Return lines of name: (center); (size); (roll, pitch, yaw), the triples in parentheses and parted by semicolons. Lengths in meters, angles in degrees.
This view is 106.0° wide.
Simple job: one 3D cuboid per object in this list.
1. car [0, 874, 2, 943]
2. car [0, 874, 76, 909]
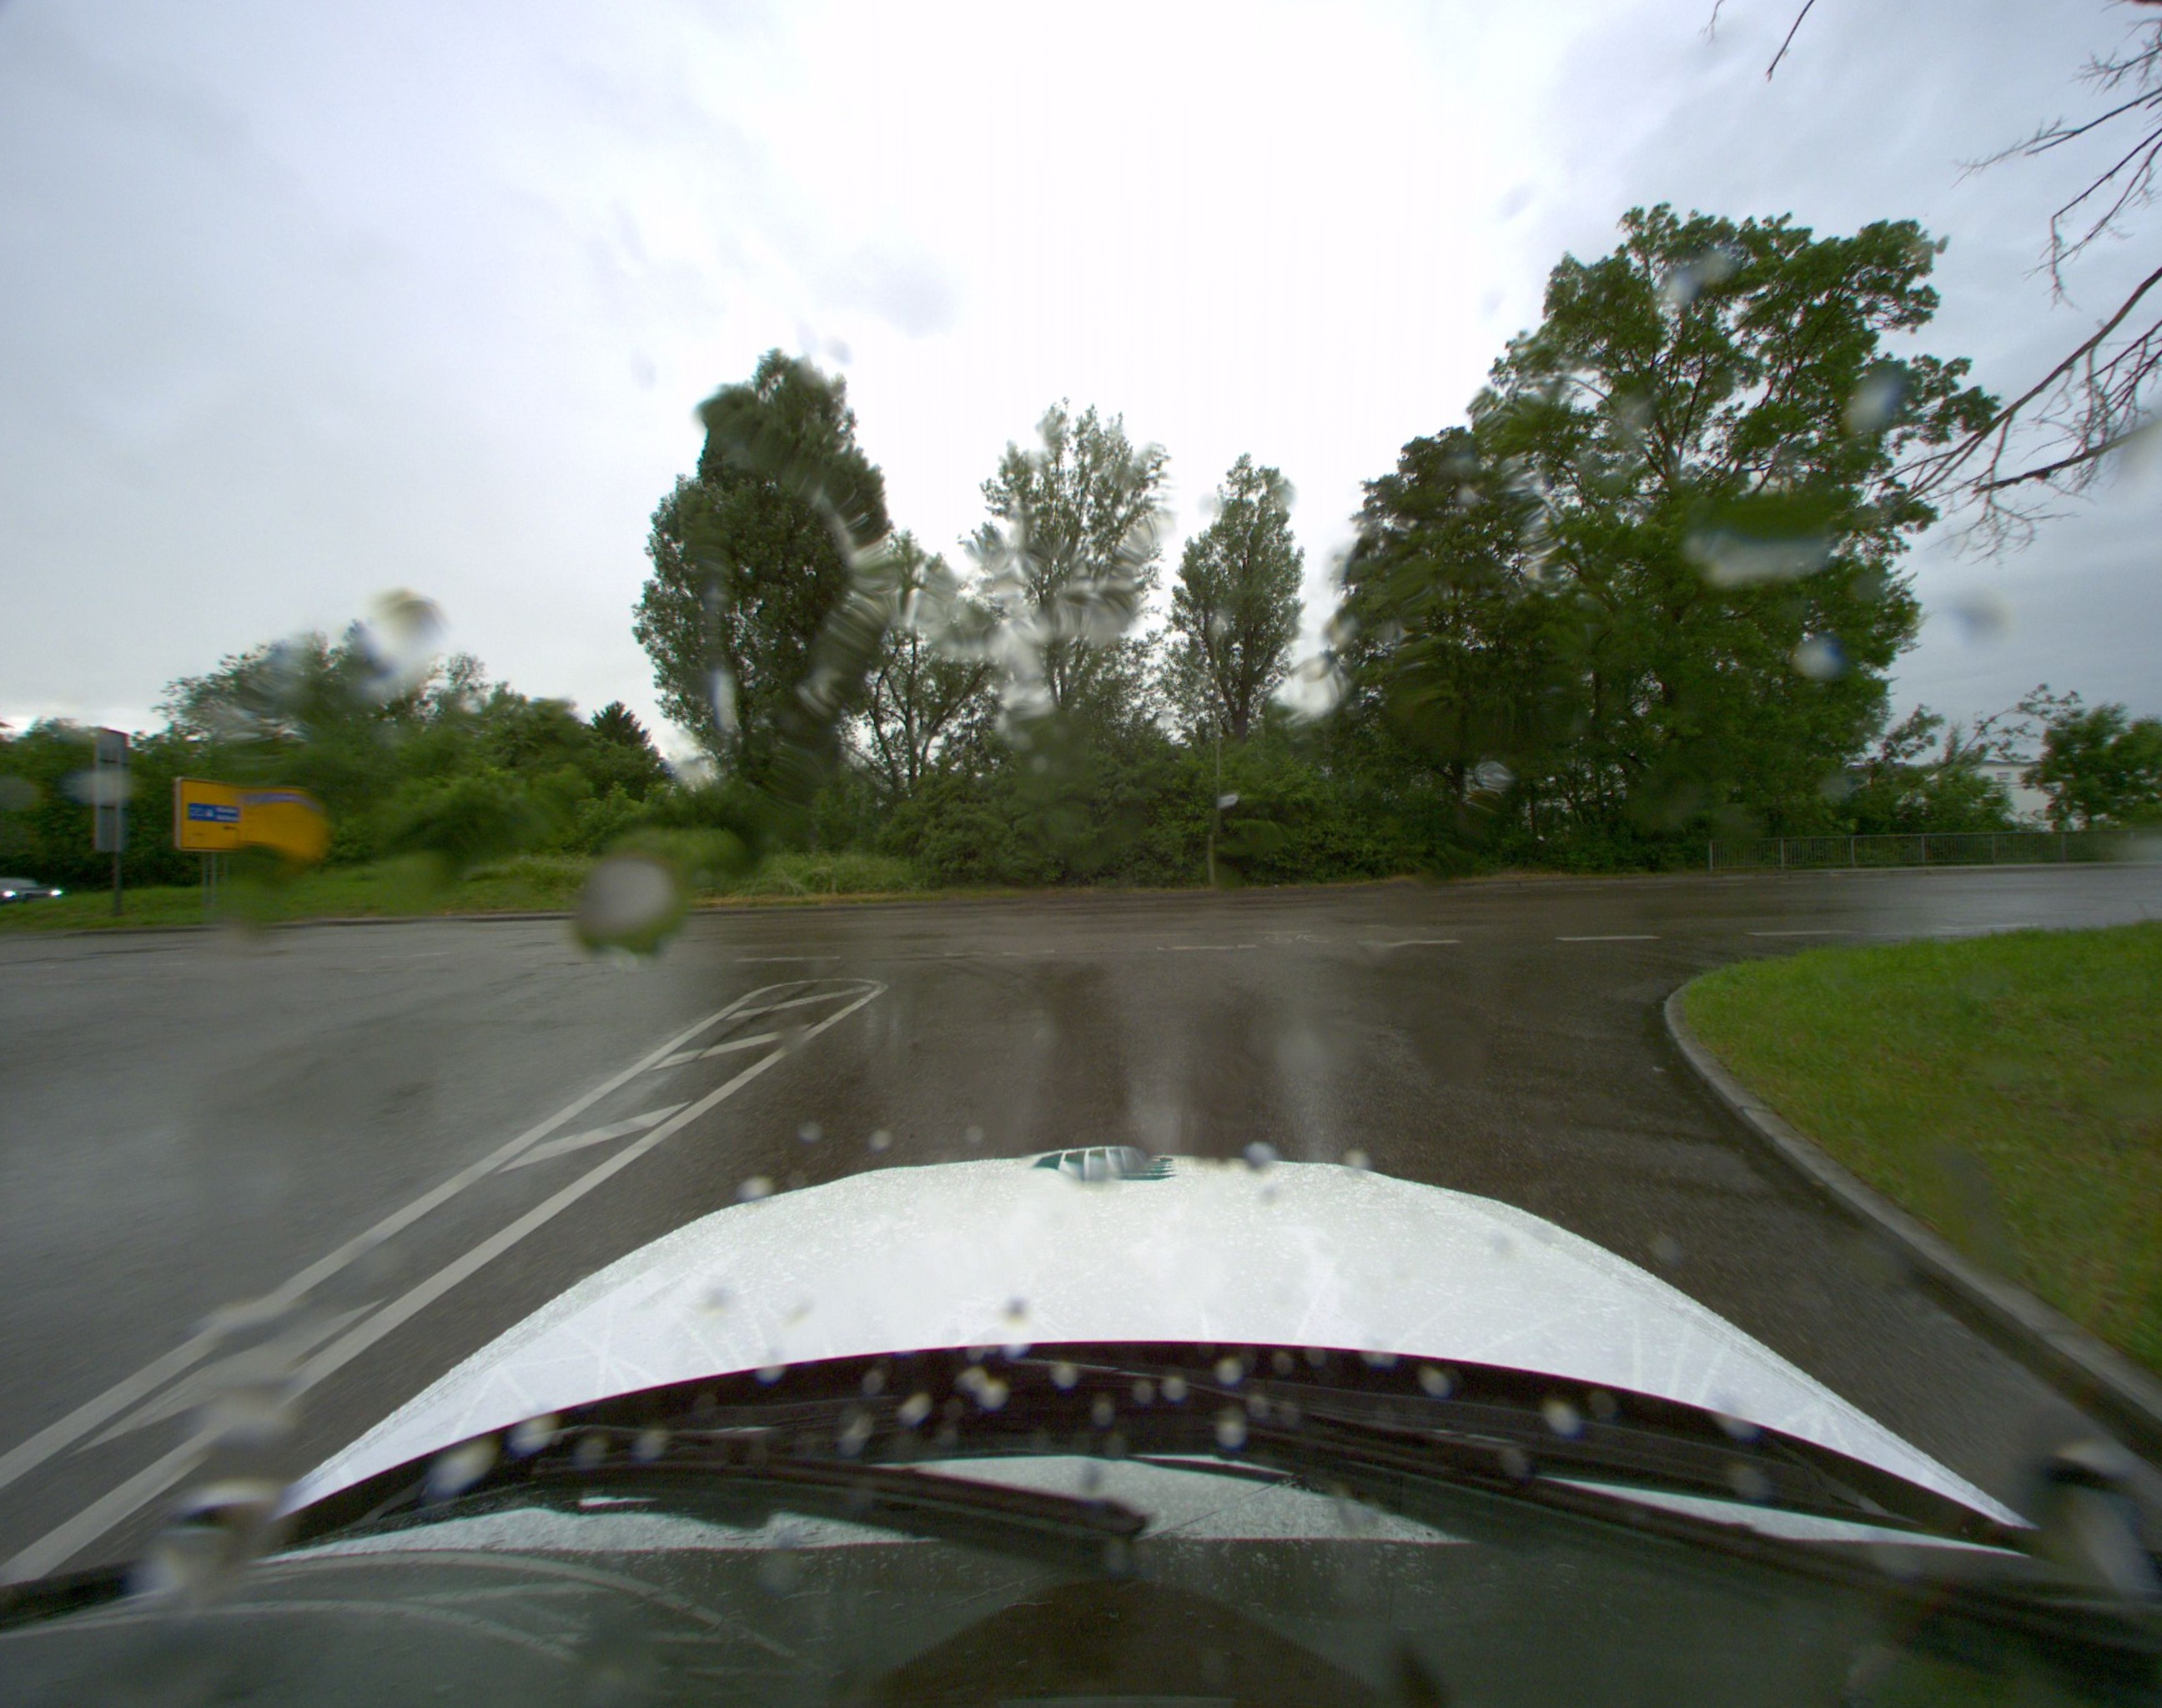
car: (-26.080, 1.269, 18.130); (3.949, 1.523, 1.847); (-2, 0, 28)
car: (-48.866, 1.735, 37.325); (4.079, 1.490, 1.863); (-2, 0, 12)
